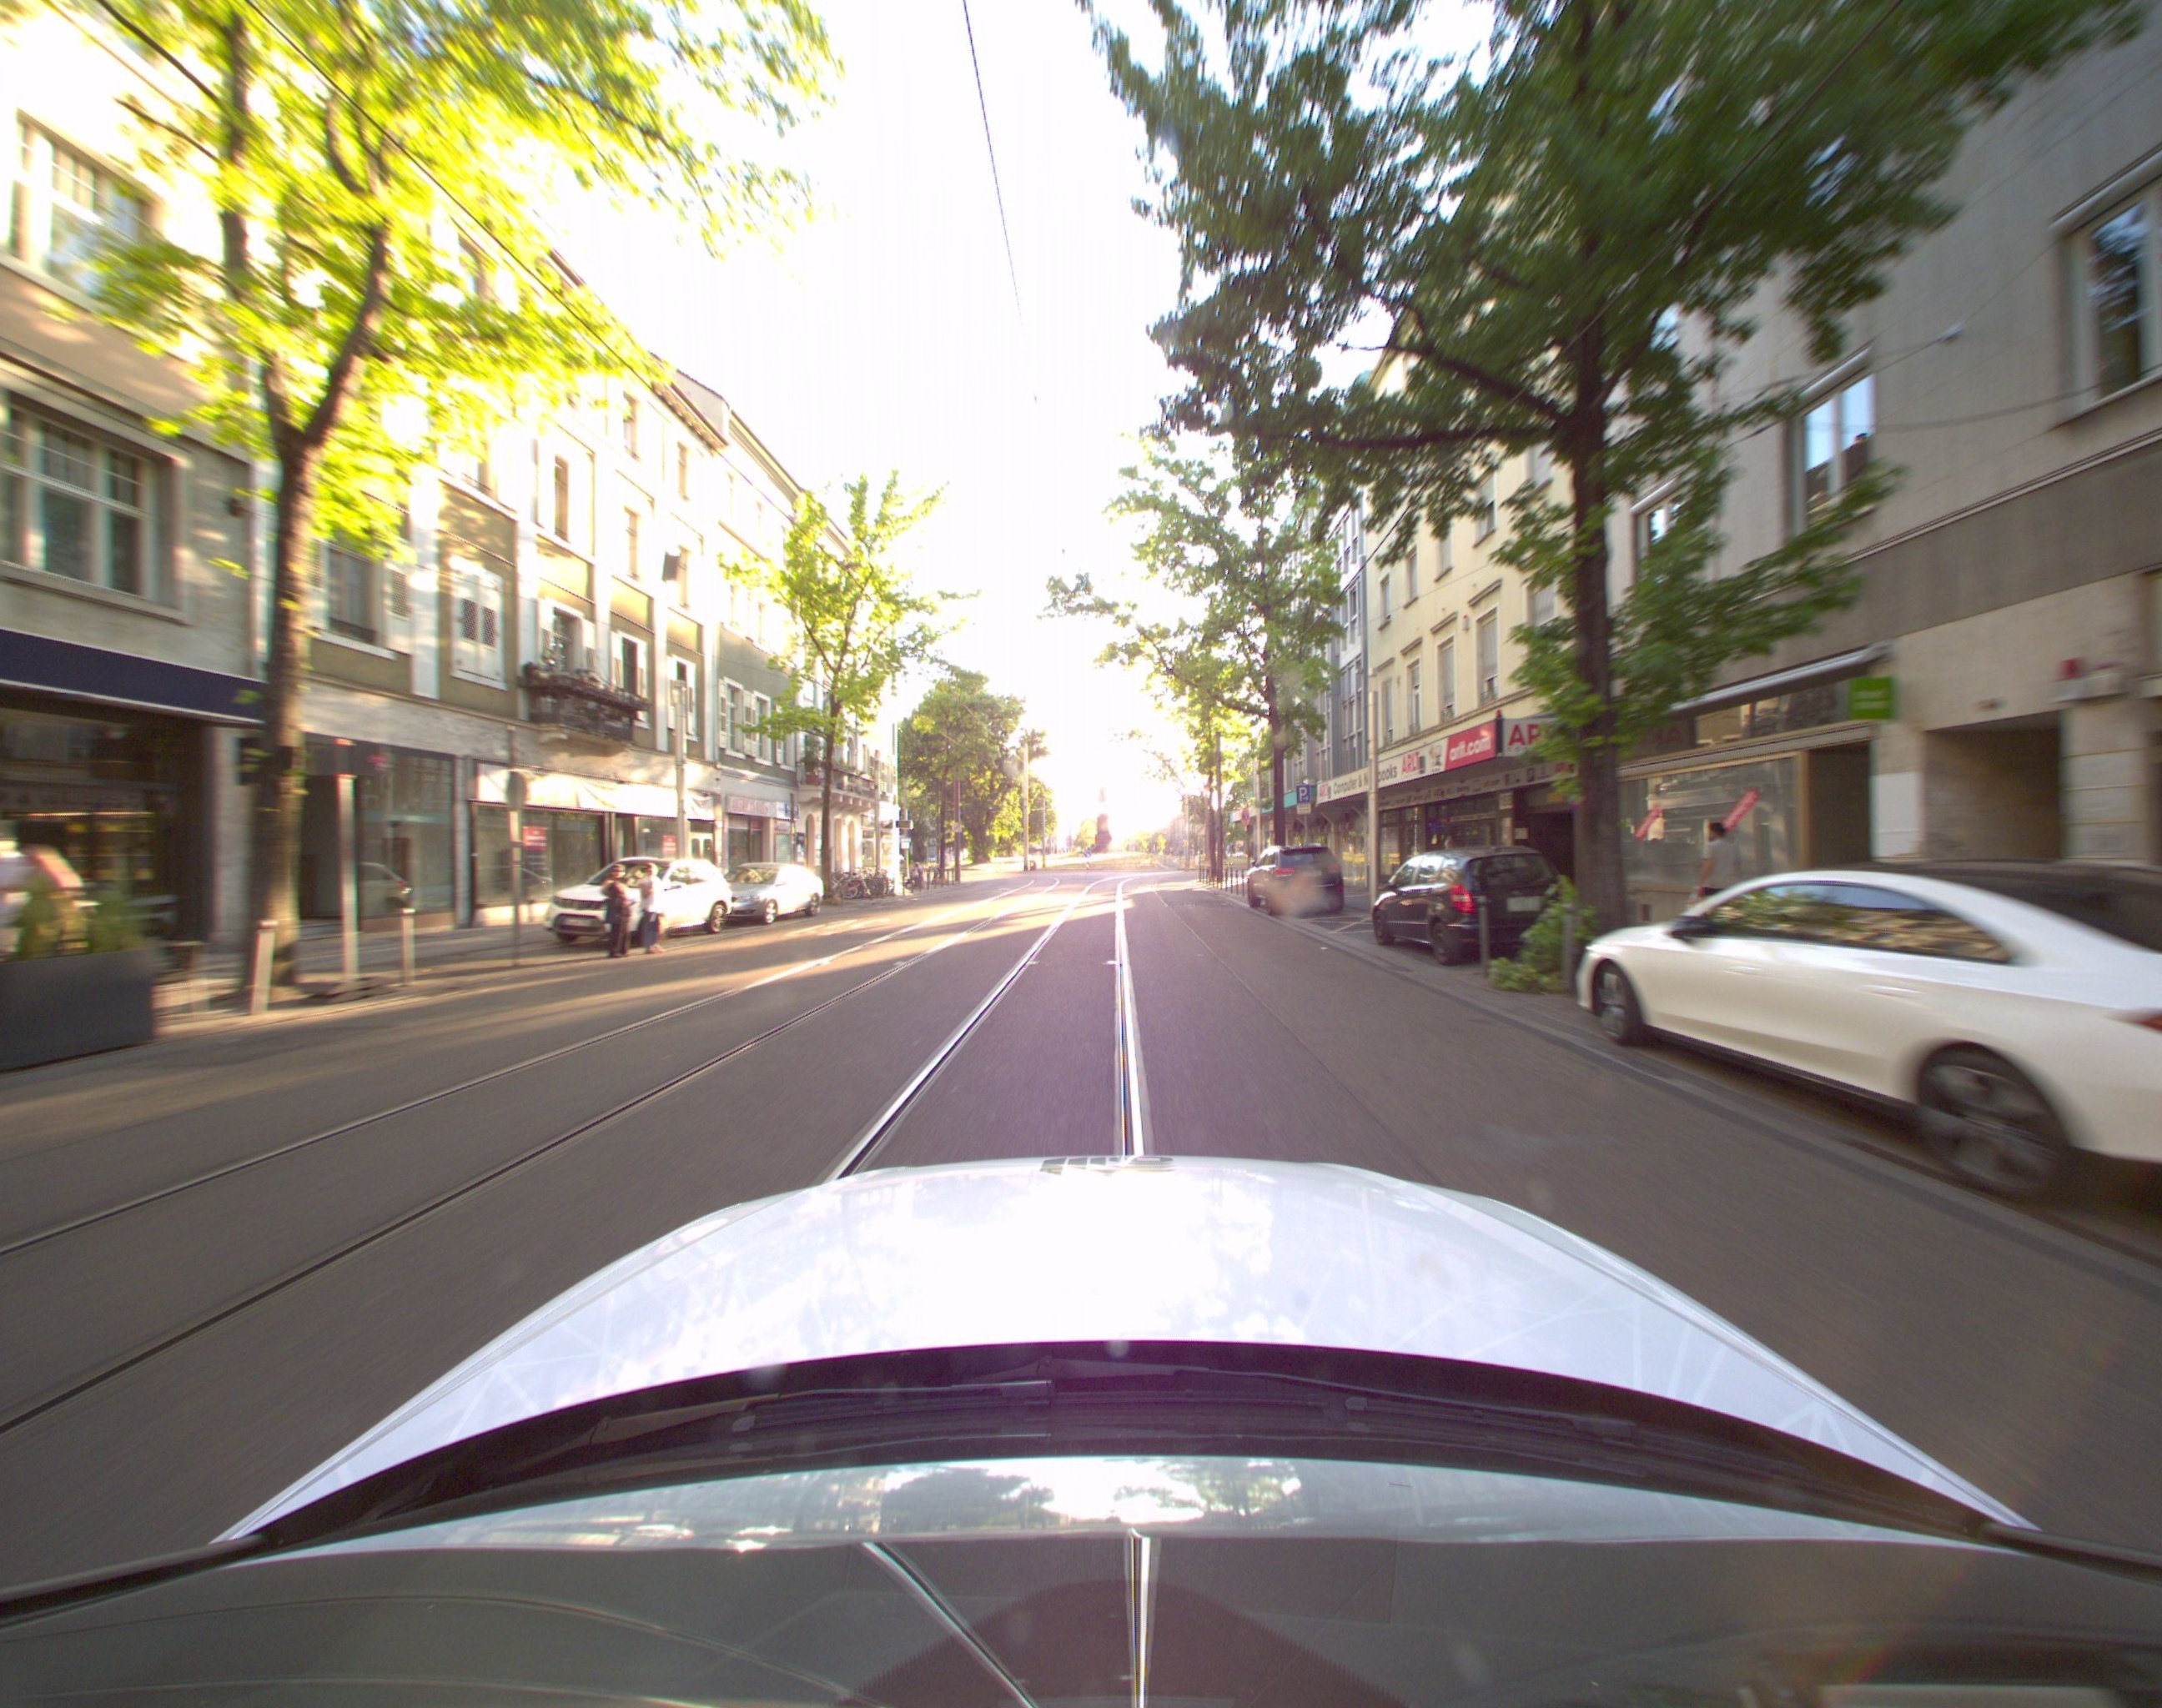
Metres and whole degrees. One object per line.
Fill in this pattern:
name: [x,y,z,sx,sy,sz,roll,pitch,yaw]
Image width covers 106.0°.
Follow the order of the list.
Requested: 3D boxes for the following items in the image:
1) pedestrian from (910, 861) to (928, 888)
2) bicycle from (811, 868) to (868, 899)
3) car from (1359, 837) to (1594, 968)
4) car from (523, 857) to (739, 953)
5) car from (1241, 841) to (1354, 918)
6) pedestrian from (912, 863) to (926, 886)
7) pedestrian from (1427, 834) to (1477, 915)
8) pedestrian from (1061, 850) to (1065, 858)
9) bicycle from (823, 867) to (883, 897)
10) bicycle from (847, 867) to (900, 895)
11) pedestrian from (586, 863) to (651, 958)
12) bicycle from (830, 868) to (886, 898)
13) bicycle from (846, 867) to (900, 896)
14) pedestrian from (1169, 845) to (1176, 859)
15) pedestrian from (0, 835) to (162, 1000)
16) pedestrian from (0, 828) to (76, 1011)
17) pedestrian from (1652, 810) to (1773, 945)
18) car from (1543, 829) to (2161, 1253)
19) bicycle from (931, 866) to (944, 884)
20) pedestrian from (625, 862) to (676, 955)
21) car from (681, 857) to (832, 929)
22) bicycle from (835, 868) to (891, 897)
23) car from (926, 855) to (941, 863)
pedestrian: [-7.883,0.995,39.685,0.725,1.290,0.856,0,0,0]
bicycle: [-8.837,1.083,29.826,1.953,1.105,0.563,1,-1,-23]
car: [5.849,0.641,12.634,1.769,1.591,3.893,-4,0,2]
car: [-8.833,0.905,16.475,1.828,1.580,4.119,3,0,3]
car: [5.821,0.620,22.500,1.930,1.759,4.682,-4,0,2]
pedestrian: [-8.210,1.033,41.338,0.589,1.194,0.642,0,0,0]
pedestrian: [8.017,0.434,17.642,0.641,1.670,0.787,-4,0,2]
pedestrian: [-3.241,-0.002,148.222,0.768,1.606,0.637,-1,0,-4]
bicycle: [-8.606,1.073,30.711,2.117,1.105,0.497,1,-1,-23]
bicycle: [-8.498,1.103,33.401,2.014,1.105,0.501,1,-1,4]
pedestrian: [-7.595,0.903,13.400,0.617,1.509,0.730,-1,-1,3]
bicycle: [-8.570,1.124,31.348,2.032,1.105,0.497,1,-1,-23]
bicycle: [-8.364,1.104,32.810,2.014,1.105,0.501,1,-1,4]
pedestrian: [11.078,-0.253,98.801,0.631,1.606,0.775,-1,0,17]
pedestrian: [-11.438,0.682,9.257,0.719,1.760,1.090,-1,0,2]
pedestrian: [-12.250,0.727,9.308,0.719,2.013,0.643,-1,0,2]
pedestrian: [8.754,0.311,11.329,0.855,1.753,0.933,-4,0,2]
car: [5.132,0.676,5.074,1.985,1.498,4.684,-4,0,3]
bicycle: [-7.933,1.169,44.996,0.335,0.946,1.511,-1,0,3]
pedestrian: [-7.484,0.926,14.179,0.519,1.569,0.634,-1,-1,3]
car: [-8.351,0.929,21.503,1.828,1.580,4.706,3,0,3]
bicycle: [-8.542,1.108,31.935,2.032,1.105,0.497,1,-1,-23]
car: [-27.707,0.956,152.922,1.868,1.420,3.931,-1,0,5]
